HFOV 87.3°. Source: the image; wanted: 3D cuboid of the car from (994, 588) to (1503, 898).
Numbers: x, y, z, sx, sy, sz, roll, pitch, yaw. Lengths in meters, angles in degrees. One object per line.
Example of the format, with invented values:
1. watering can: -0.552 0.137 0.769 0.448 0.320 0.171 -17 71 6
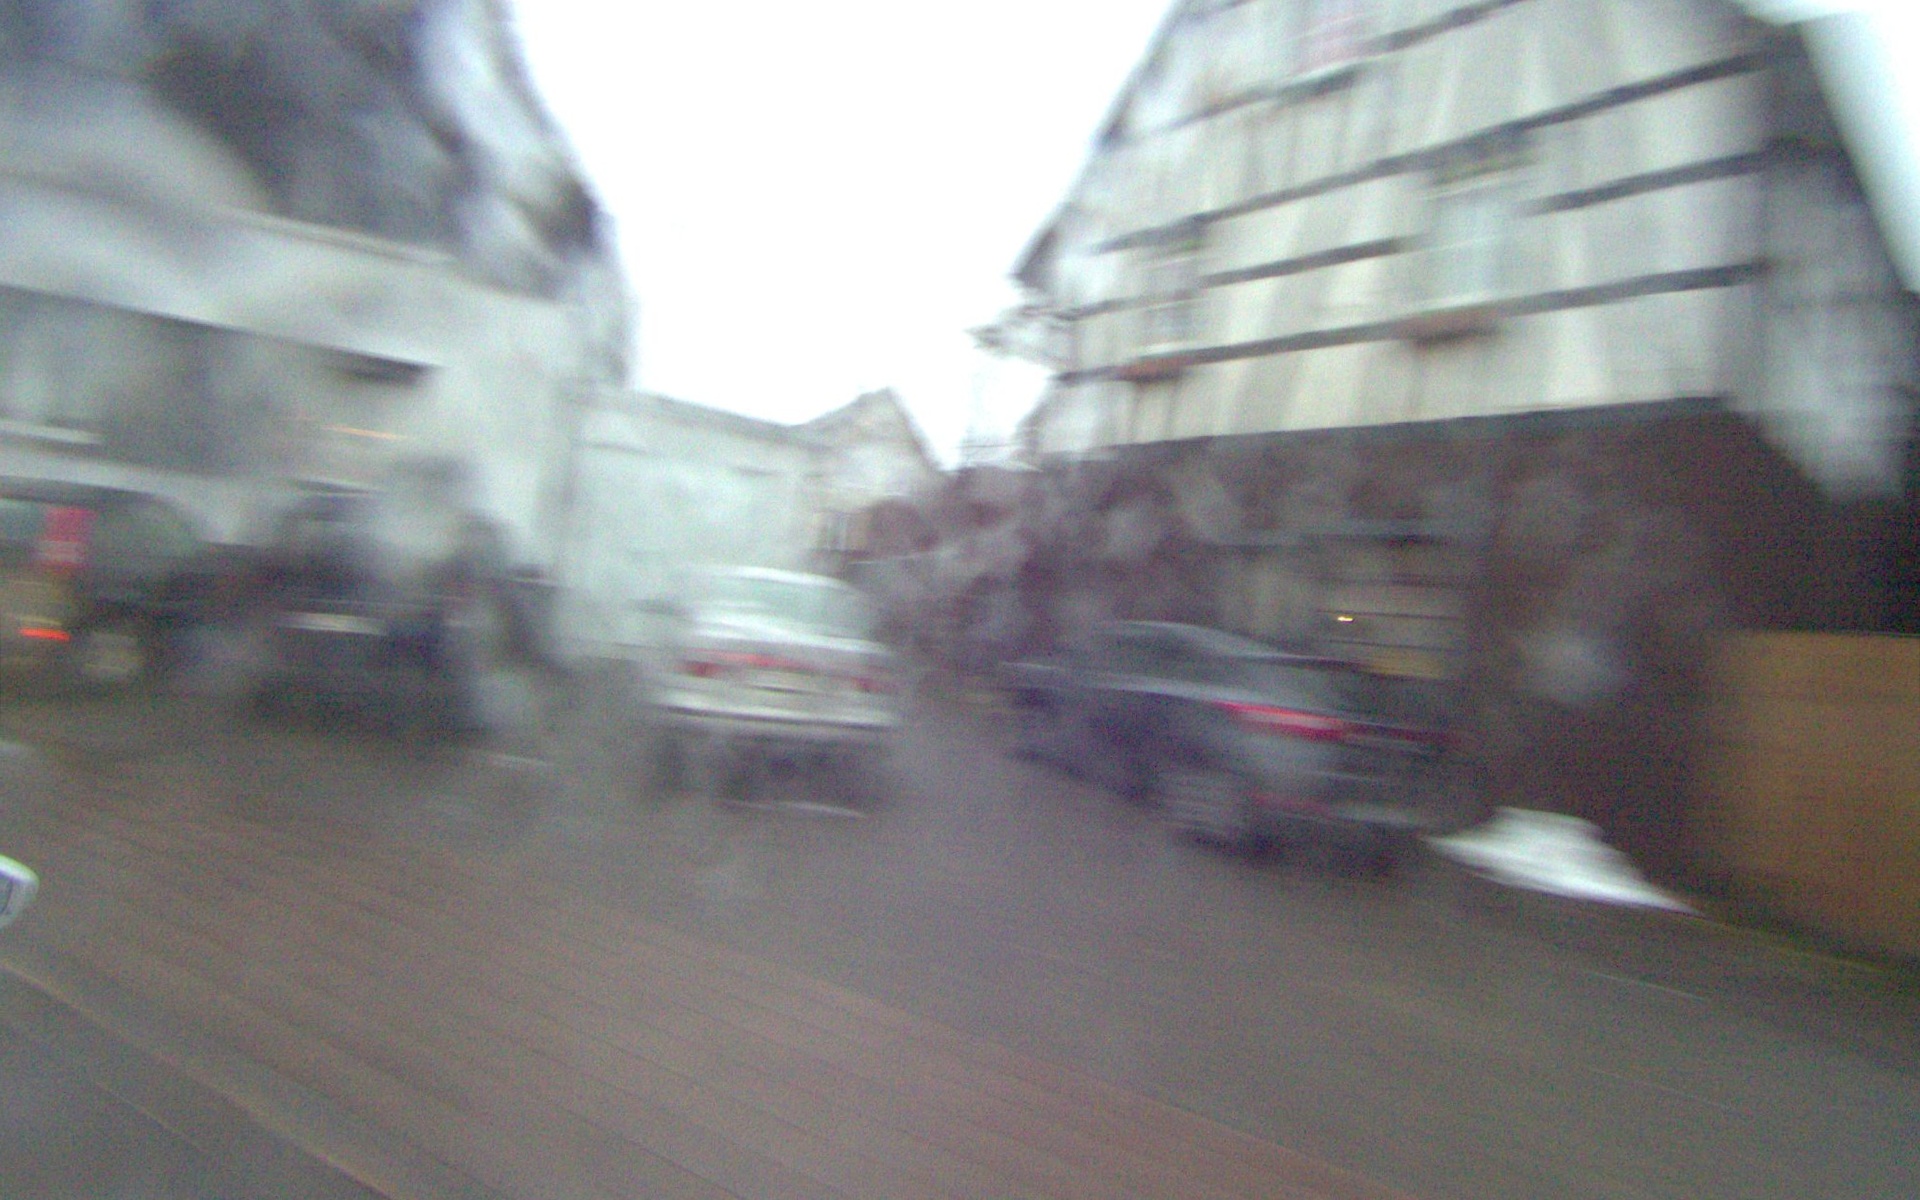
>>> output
1. car: 1.901 0.890 7.975 1.576 1.536 3.958 5 3 -24

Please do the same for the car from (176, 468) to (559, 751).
1. car: -4.651 -0.050 8.662 1.828 1.683 4.454 6 2 -19

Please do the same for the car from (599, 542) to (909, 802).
1. car: -1.840 0.382 8.233 1.788 1.440 4.019 6 2 -17

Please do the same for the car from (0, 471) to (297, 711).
1. car: -7.187 -0.225 8.208 1.860 1.469 3.875 6 2 -17
